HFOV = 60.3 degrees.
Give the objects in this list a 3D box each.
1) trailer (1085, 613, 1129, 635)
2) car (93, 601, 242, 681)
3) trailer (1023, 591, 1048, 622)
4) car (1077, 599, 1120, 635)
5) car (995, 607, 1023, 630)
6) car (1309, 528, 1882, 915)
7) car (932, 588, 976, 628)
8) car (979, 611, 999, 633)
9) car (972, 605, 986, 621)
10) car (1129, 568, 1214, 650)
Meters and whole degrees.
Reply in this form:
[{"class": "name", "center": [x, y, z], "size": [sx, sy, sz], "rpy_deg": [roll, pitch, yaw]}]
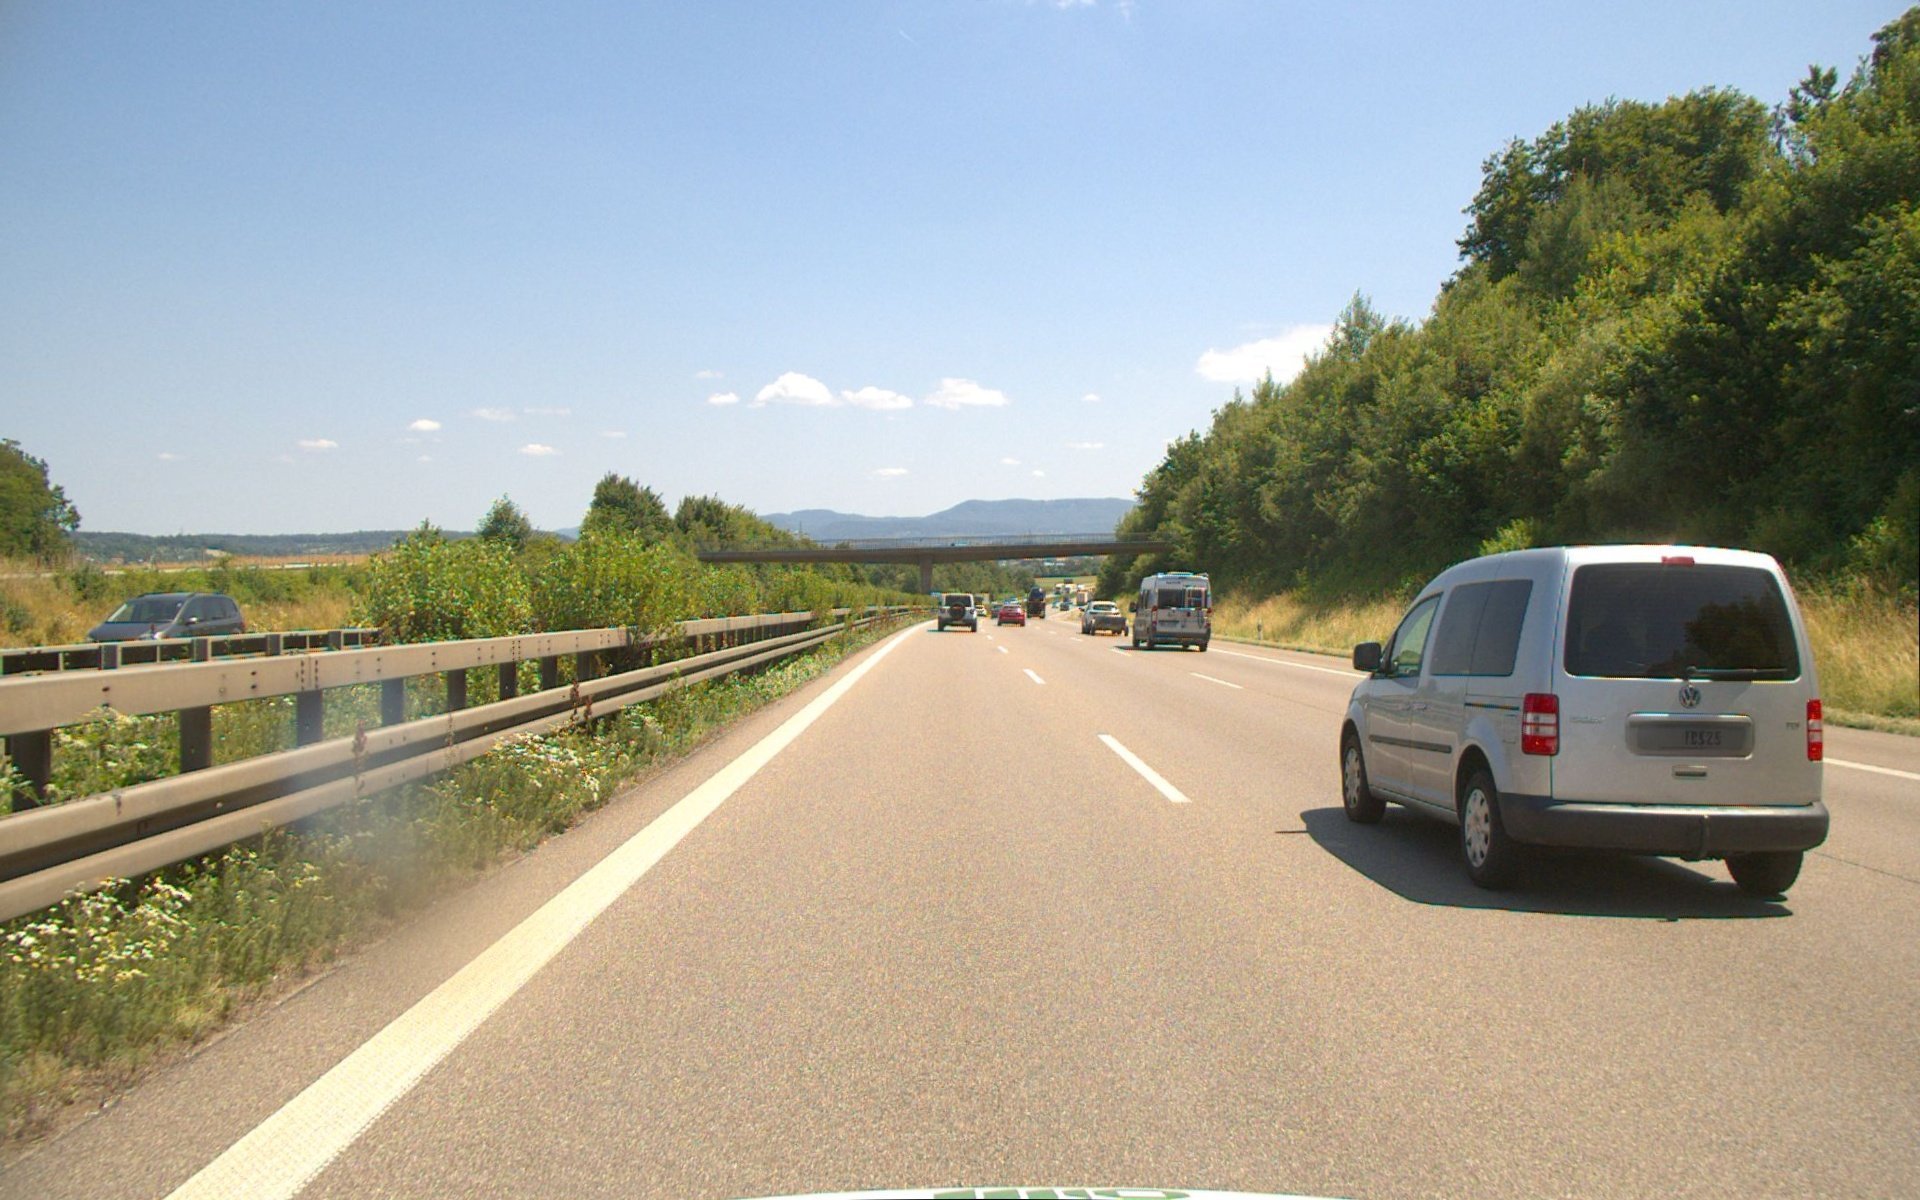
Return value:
[{"class": "trailer", "center": [7.172, 1.168, 80.943], "size": [1.718, 0.924, 4.319], "rpy_deg": [1, 1, -1]}, {"class": "car", "center": [-17.404, 0.865, 36.492], "size": [1.527, 1.577, 3.694], "rpy_deg": [1, 1, -1]}, {"class": "trailer", "center": [10.513, 0.817, 228.795], "size": [2.795, 4.063, 15.405], "rpy_deg": [1, 1, 4]}, {"class": "car", "center": [7.123, 0.853, 85.309], "size": [1.745, 1.679, 4.402], "rpy_deg": [1, 1, -1]}, {"class": "car", "center": [3.230, 1.210, 109.103], "size": [1.651, 1.403, 3.948], "rpy_deg": [1, 1, 0]}, {"class": "car", "center": [3.629, 0.568, 10.520], "size": [1.710, 1.861, 4.800], "rpy_deg": [1, 1, -1]}, {"class": "car", "center": [-0.269, 0.381, 81.652], "size": [2.040, 1.861, 4.754], "rpy_deg": [1, 1, 1]}, {"class": "car", "center": [2.905, 2.183, 166.403], "size": [1.953, 2.049, 4.000], "rpy_deg": [1, 1, -1]}, {"class": "car", "center": [2.490, 1.733, 218.307], "size": [1.663, 2.049, 3.822], "rpy_deg": [1, 1, 0]}, {"class": "car", "center": [7.239, 0.258, 57.287], "size": [2.046, 2.621, 6.622], "rpy_deg": [1, 1, 0]}]
